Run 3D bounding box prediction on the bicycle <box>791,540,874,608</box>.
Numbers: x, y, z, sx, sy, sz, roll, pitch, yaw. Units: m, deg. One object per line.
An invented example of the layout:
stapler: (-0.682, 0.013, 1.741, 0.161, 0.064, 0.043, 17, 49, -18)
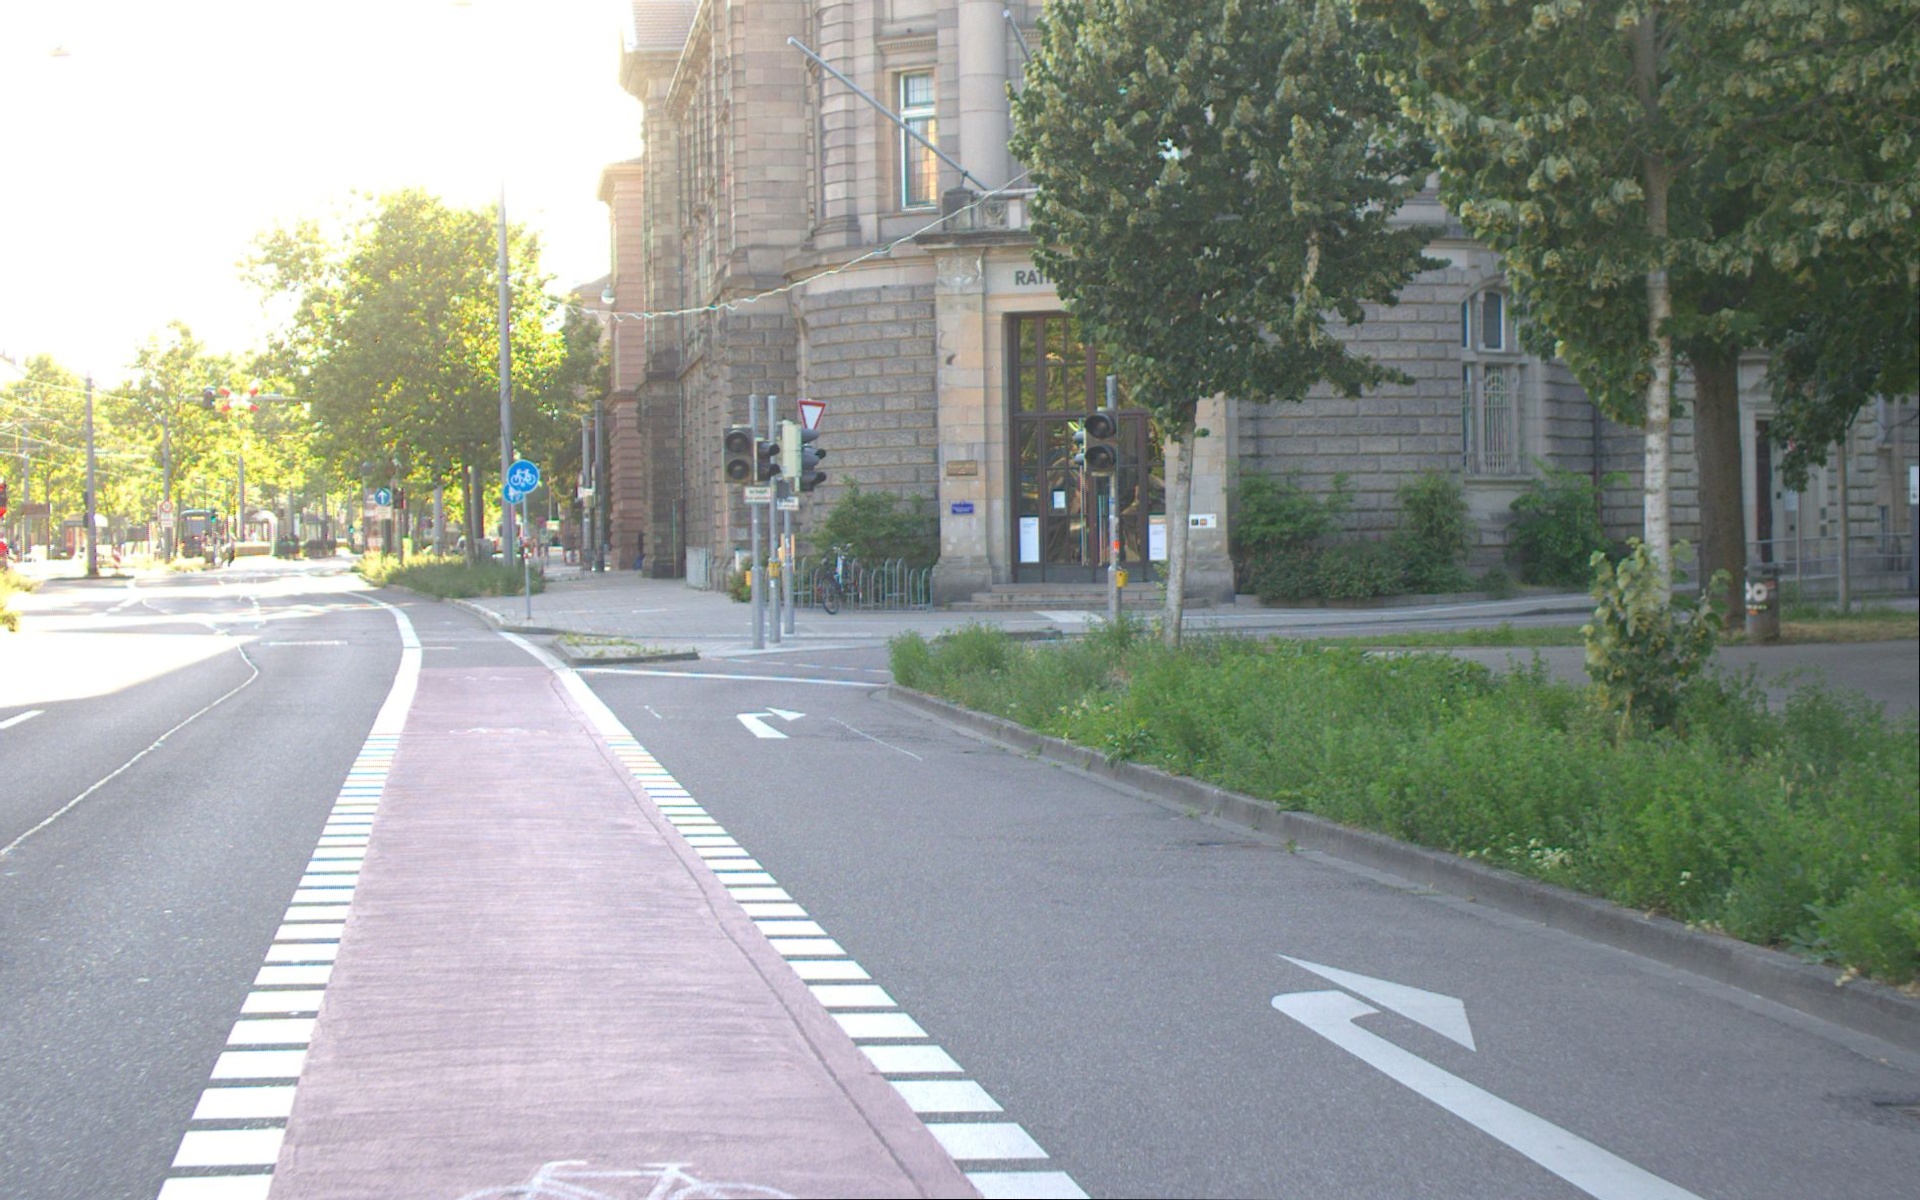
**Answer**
bicycle: (-2.317, -0.488, 62.908, 0.867, 1.192, 2.238, -1, 1, 15)
